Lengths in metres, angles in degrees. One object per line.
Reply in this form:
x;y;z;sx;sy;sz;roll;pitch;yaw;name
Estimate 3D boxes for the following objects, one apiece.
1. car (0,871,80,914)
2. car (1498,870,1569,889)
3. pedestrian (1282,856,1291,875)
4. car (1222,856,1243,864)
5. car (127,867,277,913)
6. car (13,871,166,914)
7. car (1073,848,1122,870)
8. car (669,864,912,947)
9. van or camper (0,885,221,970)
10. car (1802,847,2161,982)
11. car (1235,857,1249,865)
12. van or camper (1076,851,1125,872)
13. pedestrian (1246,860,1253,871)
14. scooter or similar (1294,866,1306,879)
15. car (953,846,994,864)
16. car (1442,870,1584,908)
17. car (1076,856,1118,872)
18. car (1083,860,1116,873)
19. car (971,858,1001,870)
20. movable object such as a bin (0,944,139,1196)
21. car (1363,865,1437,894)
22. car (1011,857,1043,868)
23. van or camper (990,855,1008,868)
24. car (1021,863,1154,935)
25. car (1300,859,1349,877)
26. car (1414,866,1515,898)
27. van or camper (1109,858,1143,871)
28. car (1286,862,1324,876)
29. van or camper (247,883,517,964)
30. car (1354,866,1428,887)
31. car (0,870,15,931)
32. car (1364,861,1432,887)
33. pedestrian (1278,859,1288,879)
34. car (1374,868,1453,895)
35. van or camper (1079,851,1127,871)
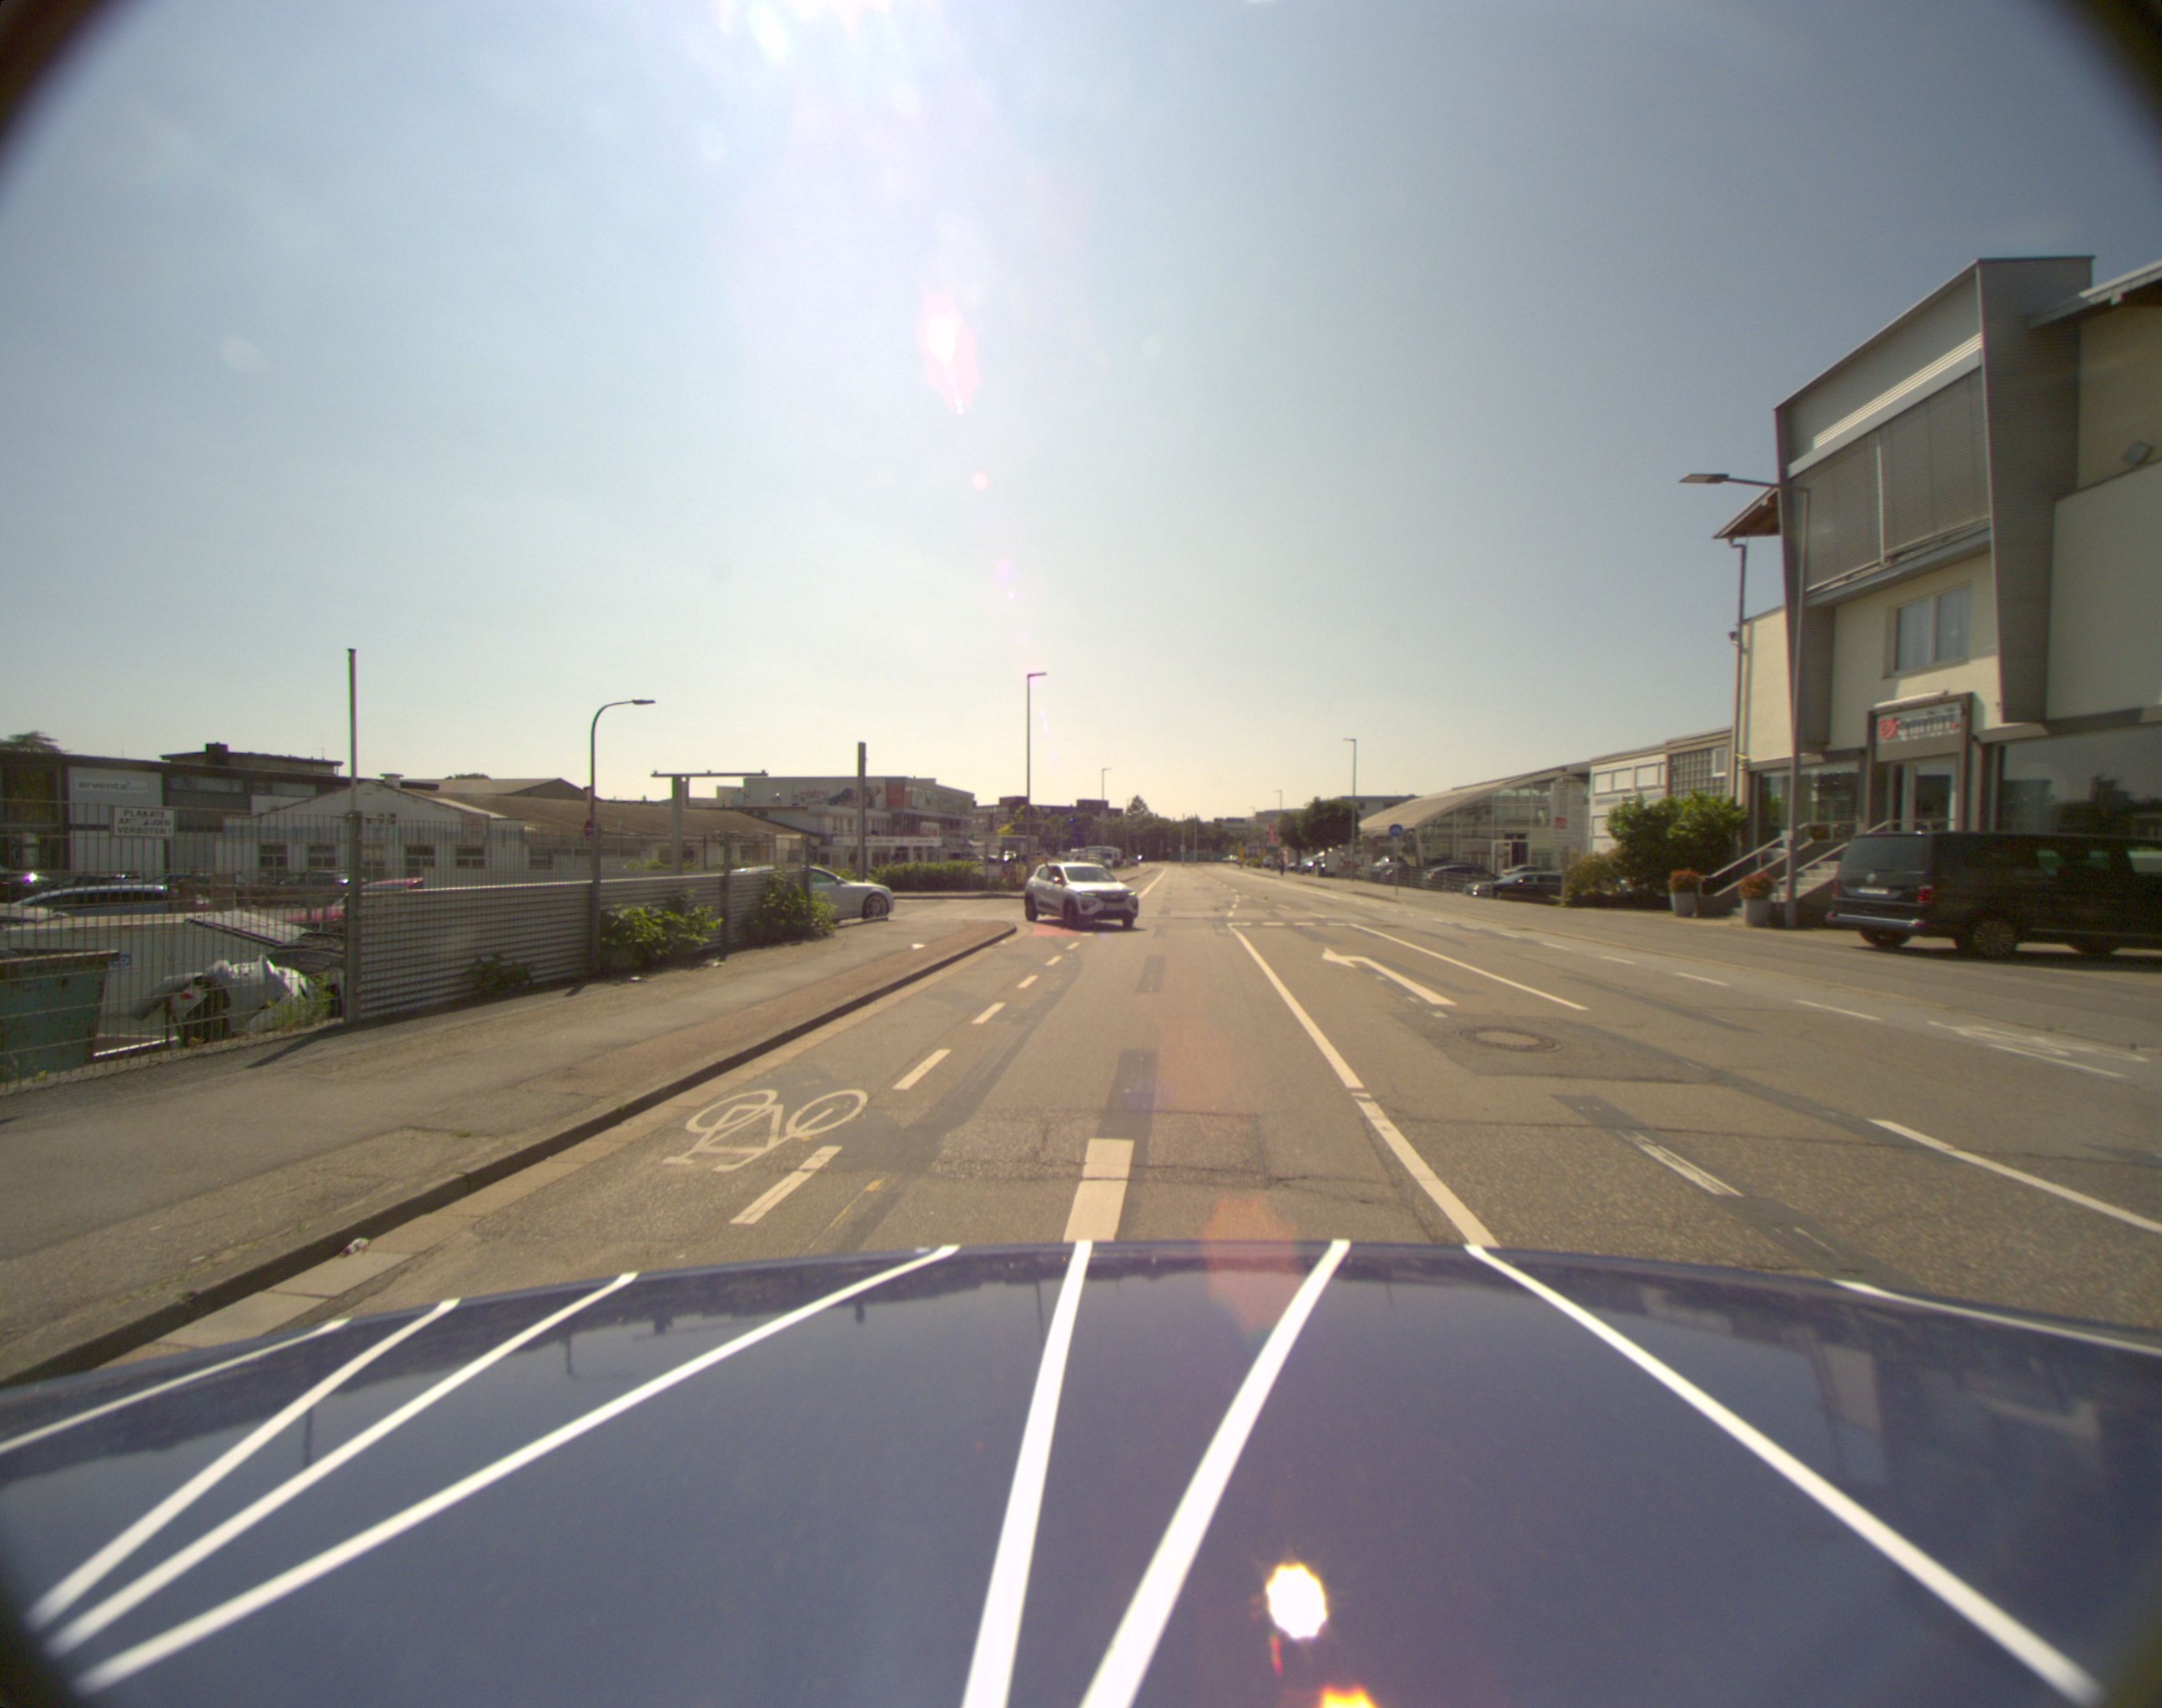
-46.377;1.651;32.750;3.996;1.761;2.001;0;0;4;car
32.649;1.824;54.870;3.995;1.351;1.860;0;0;7;car
20.293;1.138;75.146;0.724;1.837;0.912;1;0;5;pedestrian
32.857;1.316;165.111;3.990;1.696;2.004;-3;0;29;car
-36.073;1.453;31.259;3.996;1.783;2.001;-1;0;4;car
-41.288;1.569;31.707;3.996;1.652;2.001;1;0;4;car
2.203;0.683;99.729;6.239;2.852;2.322;1;0;8;car
-6.119;1.038;16.514;1.953;1.350;4.505;-4;0;37;car
-24.068;1.710;18.273;1.993;1.535;4.237;6;4;34;van or camper
14.882;0.893;12.061;4.574;1.854;2.094;2;0;8;car
30.546;1.273;144.165;1.743;1.396;4.331;1;1;24;car
2.720;0.995;102.796;6.361;2.684;2.714;1;0;7;van or camper
24.655;1.696;111.189;0.995;1.675;0.800;1;0;18;pedestrian
20.655;1.733;71.693;0.745;1.240;1.490;0;0;-1;scooter or similar
-15.132;0.140;106.778;5.309;2.404;2.326;1;0;3;car
18.063;1.435;31.986;4.748;1.472;2.049;1;0;6;car
2.064;1.238;97.217;5.244;1.940;2.001;1;0;7;car
2.284;1.535;94.489;3.929;1.584;1.799;0;0;7;car
-13.998;1.430;112.469;4.114;1.722;2.001;1;0;3;car
-11.627;1.966;6.507;5.125;2.002;2.001;-3;0;7;movable object such as a bin
20.710;1.640;49.459;3.995;1.435;1.860;6;1;5;car
-7.929;1.248;111.692;4.547;1.668;2.001;1;0;3;car
-12.737;1.199;117.983;2.122;2.002;5.116;1;0;2;van or camper
0.047;0.974;17.993;1.730;1.476;3.669;0;0;-25;car
23.602;1.303;73.631;4.587;1.686;1.855;0;0;-28;car
20.034;1.456;39.845;4.306;1.549;1.996;1;0;3;car
7.477;1.703;126.434;5.143;1.950;1.982;2;1;-23;van or camper
25.008;1.651;84.734;4.168;1.451;1.903;-1;0;-36;car
-15.708;1.488;17.465;1.998;1.343;4.231;-5;-1;6;van or camper
22.151;1.591;54.464;4.533;1.449;1.901;1;0;5;car
-30.576;1.229;19.303;1.994;1.637;4.009;-2;-2;37;car
21.629;1.347;52.030;3.898;1.436;1.824;-3;2;8;car
18.622;1.377;70.059;0.733;1.856;1.048;1;0;11;pedestrian
20.463;1.668;46.879;3.996;1.482;1.859;1;2;4;car
3.115;0.932;105.516;6.361;2.700;2.714;1;0;7;van or camper
